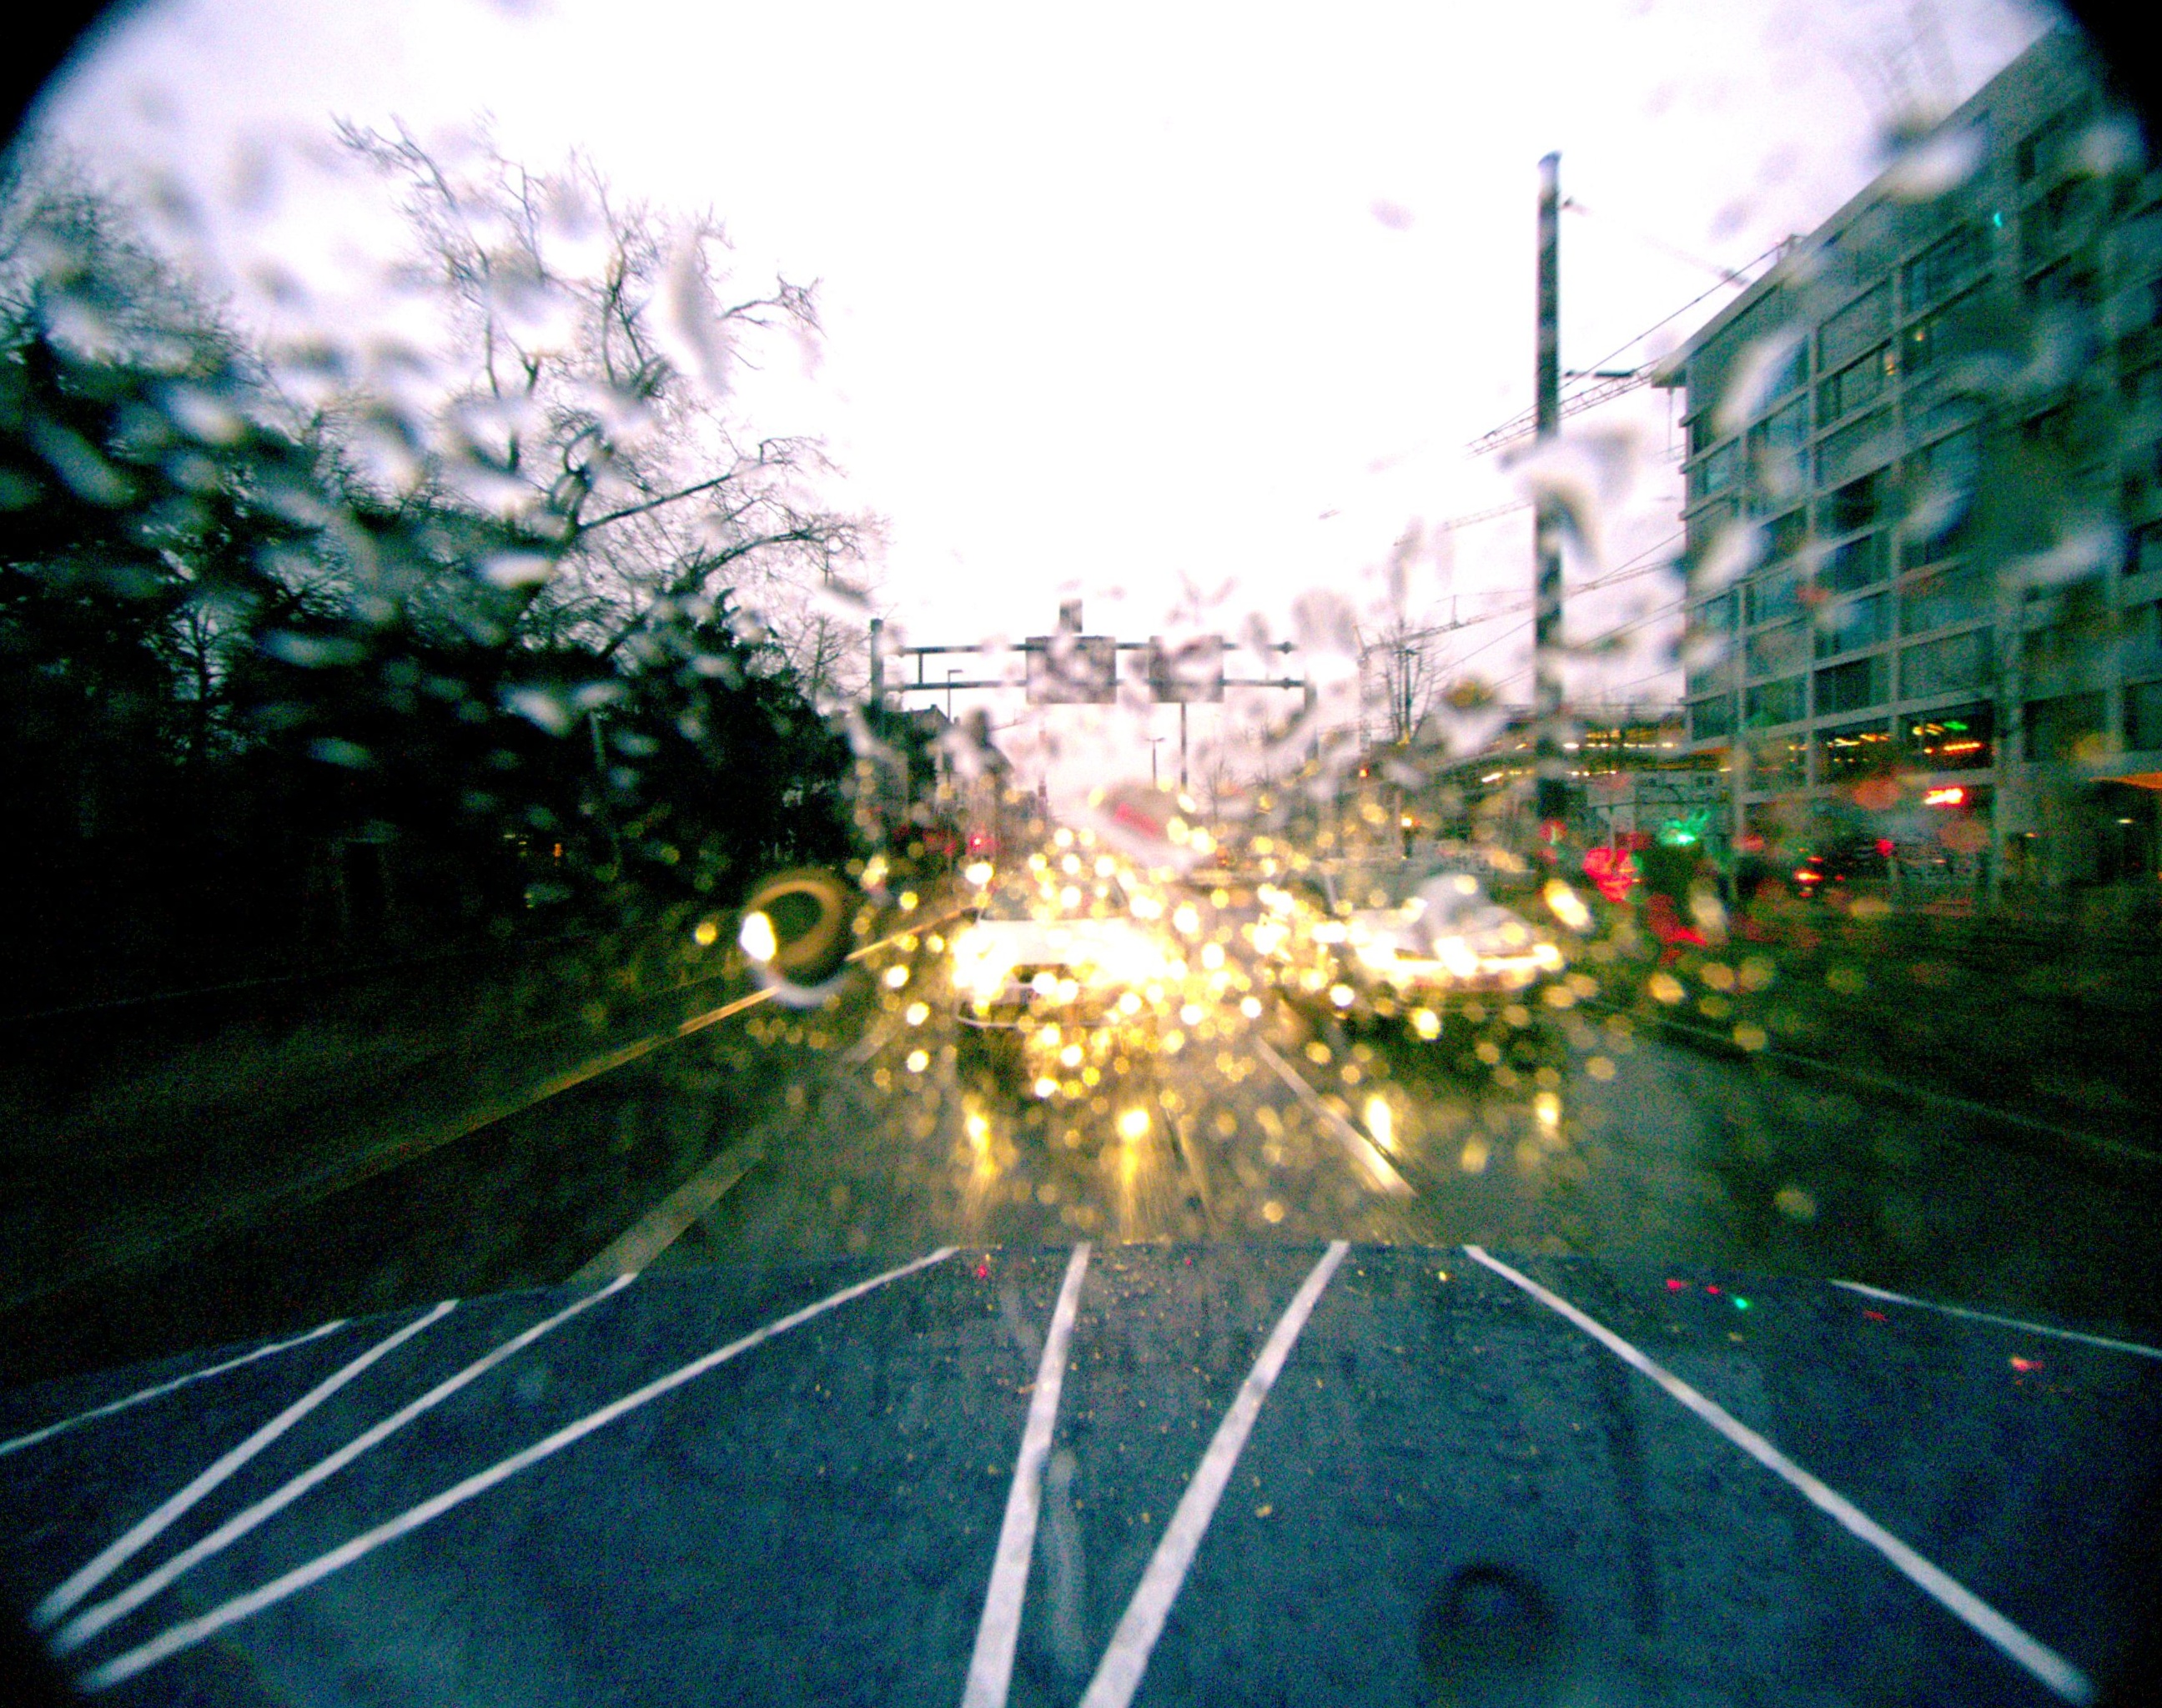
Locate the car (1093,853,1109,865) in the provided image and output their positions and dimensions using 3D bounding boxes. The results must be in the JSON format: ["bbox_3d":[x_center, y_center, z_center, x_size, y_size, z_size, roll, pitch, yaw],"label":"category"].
[{"bbox_3d":[2.385,0.583,90.954,1.767,1.363,3.981,-2,0,0],"label":"car"}]

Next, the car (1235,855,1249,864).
[{"bbox_3d":[29.983,1.004,141.349,1.998,1.556,4.001,-1,0,3],"label":"car"}]

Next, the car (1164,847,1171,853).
[{"bbox_3d":[29.315,-1.319,258.313,1.998,2.002,4.000,-1,0,1],"label":"car"}]

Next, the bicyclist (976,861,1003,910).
[{"bbox_3d":[-2.632,0.889,21.956,0.647,1.381,0.890,0,0,2],"label":"bicyclist"}]

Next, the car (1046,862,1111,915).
[{"bbox_3d":[-0.068,0.951,22.560,1.728,1.318,3.981,-2,0,0],"label":"car"}]

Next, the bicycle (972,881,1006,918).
[{"bbox_3d":[-2.643,1.291,22.000,0.647,0.961,2.046,-1,0,2],"label":"bicycle"}]

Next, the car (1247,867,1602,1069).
[{"bbox_3d":[3.000,0.887,7.664,1.767,1.363,3.981,-2,0,0],"label":"car"}]

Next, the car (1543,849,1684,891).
[{"bbox_3d":[20.274,0.555,29.271,1.998,1.459,5.034,-1,0,1],"label":"car"}]

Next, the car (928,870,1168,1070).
[{"bbox_3d":[-0.258,0.937,7.840,1.798,1.363,3.981,-2,0,0],"label":"car"}]

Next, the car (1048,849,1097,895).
[{"bbox_3d":[-0.326,0.663,30.559,1.781,1.666,3.981,-2,0,0],"label":"car"}]

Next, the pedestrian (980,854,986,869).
[{"bbox_3d":[-9.590,0.711,74.184,0.521,1.501,0.588,0,1,1],"label":"pedestrian"}]

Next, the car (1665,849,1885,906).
[{"bbox_3d":[20.311,0.637,22.530,2.001,1.488,4.444,-1,0,-15],"label":"car"}]

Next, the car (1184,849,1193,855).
[{"bbox_3d":[32.757,-0.629,230.772,1.999,1.812,3.999,-1,0,-2],"label":"car"}]
